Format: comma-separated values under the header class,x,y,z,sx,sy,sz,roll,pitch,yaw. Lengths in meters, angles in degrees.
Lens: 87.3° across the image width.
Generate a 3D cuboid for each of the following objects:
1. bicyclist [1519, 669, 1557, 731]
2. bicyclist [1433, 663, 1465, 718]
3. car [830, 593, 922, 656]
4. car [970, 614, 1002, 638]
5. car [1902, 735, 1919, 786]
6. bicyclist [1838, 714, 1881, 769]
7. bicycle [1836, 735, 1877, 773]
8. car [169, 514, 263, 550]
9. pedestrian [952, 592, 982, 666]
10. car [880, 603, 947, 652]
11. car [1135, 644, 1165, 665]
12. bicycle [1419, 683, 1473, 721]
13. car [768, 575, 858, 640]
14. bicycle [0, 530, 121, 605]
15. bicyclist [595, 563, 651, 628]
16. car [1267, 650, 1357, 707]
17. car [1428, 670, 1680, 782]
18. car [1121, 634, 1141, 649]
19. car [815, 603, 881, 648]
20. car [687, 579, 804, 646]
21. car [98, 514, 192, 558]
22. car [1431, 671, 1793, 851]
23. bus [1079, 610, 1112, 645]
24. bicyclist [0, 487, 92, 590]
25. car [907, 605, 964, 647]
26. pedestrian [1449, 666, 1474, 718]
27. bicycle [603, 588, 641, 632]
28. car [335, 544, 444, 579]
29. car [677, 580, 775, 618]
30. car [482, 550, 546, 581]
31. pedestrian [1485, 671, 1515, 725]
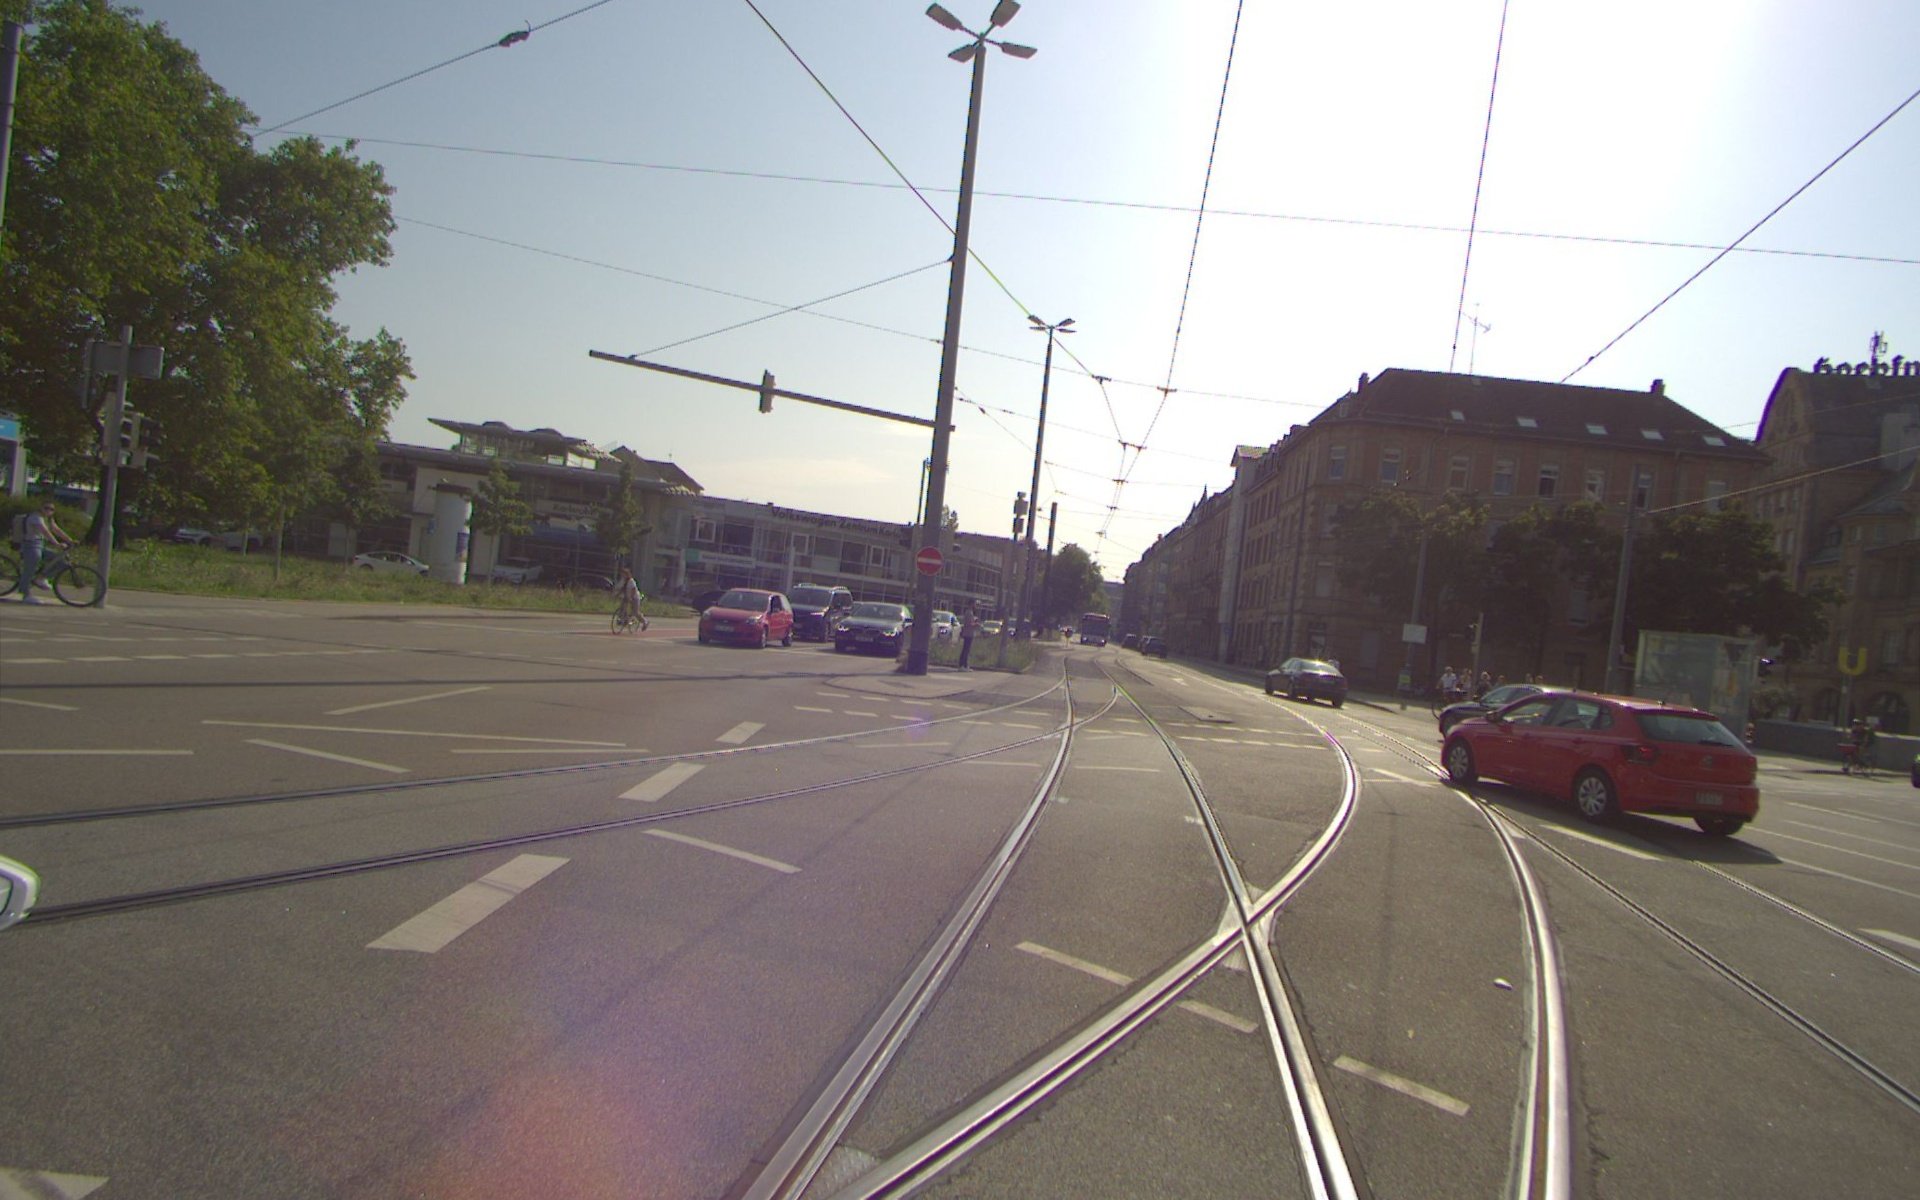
class,x,y,z,sx,sy,sz,roll,pitch,yaw
bicyclist,17.177,2.958,29.889,0.576,1.751,0.595,7,0,1
bicyclist,16.347,3.024,33.635,0.576,1.738,0.647,7,0,1
car,-2.328,0.712,28.996,1.769,1.469,4.352,7,-1,5
car,1.827,1.767,68.668,1.769,1.433,4.002,7,-1,5
car,29.449,4.876,29.398,3.963,1.393,1.910,7,0,-34
bicyclist,29.192,4.579,32.649,0.909,1.657,0.657,6,1,-33
bicycle,29.116,5.011,32.648,1.909,1.103,0.397,7,0,-32
car,-44.549,-4.035,60.312,1.962,1.479,4.063,7,-1,17
pedestrian,0.170,0.712,24.825,0.516,1.751,0.598,7,0,0
car,-1.584,0.960,35.508,1.769,1.453,3.558,7,0,5
car,15.395,4.398,81.513,1.708,1.366,3.781,7,-1,2
bicycle,16.247,3.406,33.614,1.498,1.037,0.434,7,0,-2
car,-4.894,0.295,34.180,1.769,1.850,4.775,7,0,5
bicycle,-14.397,-0.535,15.606,2.040,0.904,0.567,10,0,-7
bicyclist,-8.520,-0.117,25.482,1.070,1.493,0.970,7,0,-11
car,11.878,2.609,34.198,1.708,1.478,3.841,7,0,2
car,11.691,2.409,20.285,1.881,1.493,4.739,7,-1,-4
car,18.940,4.592,111.498,1.708,1.366,3.782,7,-1,5
car,-4.341,0.997,39.518,1.769,1.459,3.633,7,0,5
car,-5.541,0.353,26.469,1.769,1.433,4.002,7,-1,5
car,-49.422,-3.854,61.050,3.926,2.038,1.946,7,0,0
car,7.799,1.843,12.526,1.647,1.465,3.777,7,-1,-6
bus,13.849,2.823,103.379,2.843,3.020,11.504,7,-1,7
bicyclist,-14.282,-0.938,15.621,0.806,1.444,0.730,8,0,-7
car,-0.951,1.046,41.291,1.769,1.433,4.002,7,-1,5
pedestrian,17.525,3.204,35.190,0.496,1.747,0.624,7,0,17
bicycle,-8.536,0.235,25.460,0.520,1.001,2.193,6,0,-10
car,-29.201,-1.930,51.589,4.324,1.180,1.997,7,0,-10
car,-11.976,-0.048,51.553,4.315,1.387,2.001,7,0,17
car,-27.426,-2.081,62.023,1.963,1.479,4.324,7,-1,-1
pedestrian,17.485,3.177,32.577,0.496,1.661,0.524,7,0,2
